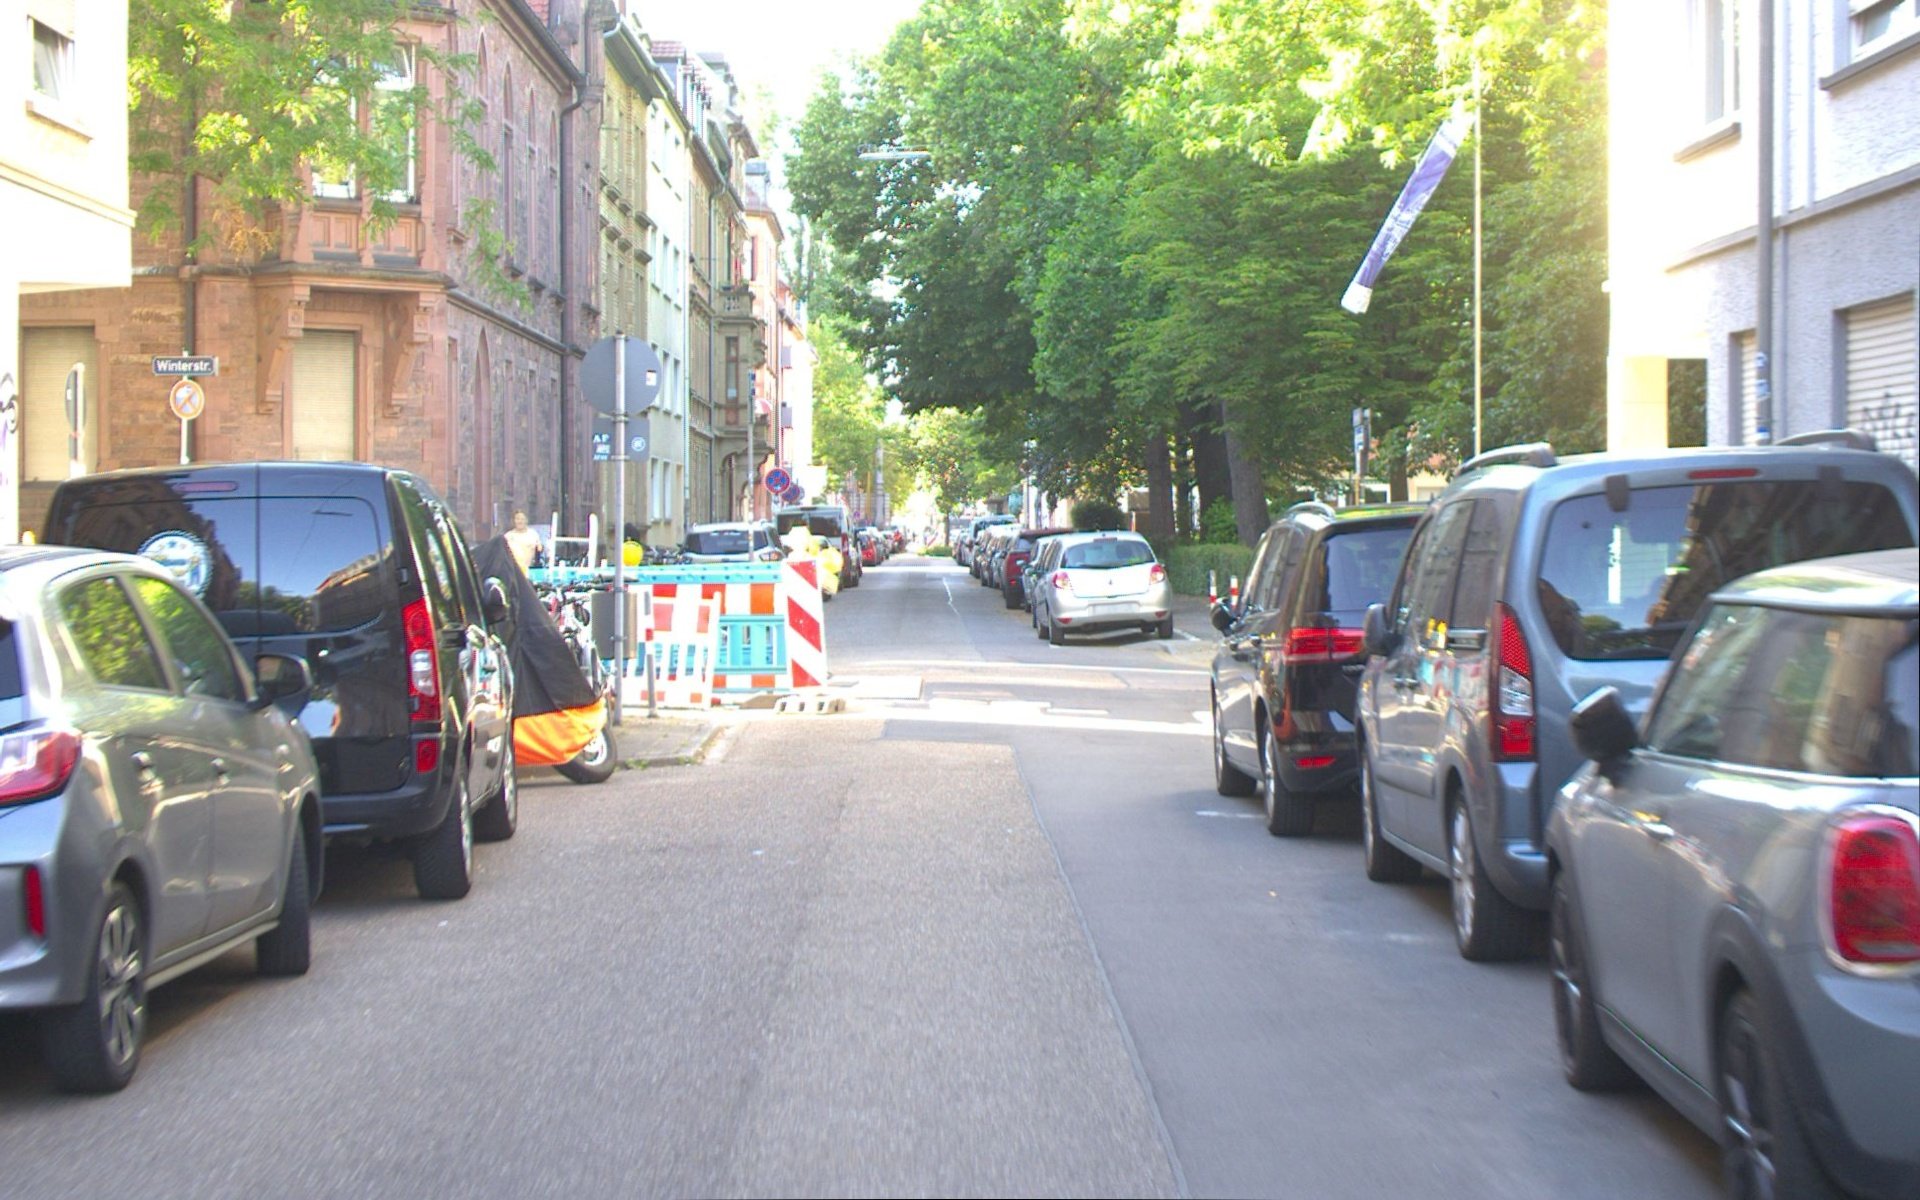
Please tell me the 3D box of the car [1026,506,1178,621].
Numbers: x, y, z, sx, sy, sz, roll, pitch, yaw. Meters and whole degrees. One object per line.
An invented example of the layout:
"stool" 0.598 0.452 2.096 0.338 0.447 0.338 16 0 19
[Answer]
"car" 1.939 -0.544 47.844 1.723 1.517 4.001 -1 2 -3

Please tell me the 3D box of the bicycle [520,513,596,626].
"bicycle" -5.223 -0.416 44.791 0.683 1.418 2.798 0 1 -1

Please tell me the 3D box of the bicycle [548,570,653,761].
"bicycle" -2.296 0.396 22.073 0.425 1.136 1.666 3 1 1

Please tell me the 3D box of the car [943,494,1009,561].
"car" 0.534 -2.510 119.470 2.160 2.248 4.526 0 1 -1

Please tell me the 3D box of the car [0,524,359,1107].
"car" -2.975 0.502 10.472 1.677 1.444 3.645 1 1 -1

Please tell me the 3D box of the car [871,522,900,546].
"car" -5.171 -4.623 239.457 1.993 1.641 4.000 0 1 -1

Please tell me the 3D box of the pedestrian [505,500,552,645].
"pedestrian" -5.191 -0.333 41.370 0.524 1.734 0.558 0 1 -5

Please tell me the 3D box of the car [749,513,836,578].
"car" -3.612 -1.201 74.599 1.771 1.348 4.000 0 1 -1

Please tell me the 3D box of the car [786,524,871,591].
"car" -3.172 -1.050 83.370 1.993 1.568 4.000 0 1 -1

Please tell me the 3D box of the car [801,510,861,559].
"car" -4.202 -2.127 112.546 1.902 1.568 4.000 0 1 -1

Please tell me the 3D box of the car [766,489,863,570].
"car" -3.865 -1.875 91.903 2.309 2.107 5.170 0 1 1

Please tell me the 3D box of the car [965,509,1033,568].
"car" 1.113 -1.803 99.911 1.829 1.698 4.001 0 2 -1

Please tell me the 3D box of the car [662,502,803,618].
"car" -3.528 -0.639 53.870 1.882 1.701 4.000 -2 1 0

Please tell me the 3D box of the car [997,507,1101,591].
"car" 1.753 -1.029 69.037 1.894 1.619 4.000 0 1 -1

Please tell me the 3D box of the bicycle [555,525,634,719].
"bicycle" -2.473 0.130 23.345 0.399 1.223 1.505 -1 3 -1

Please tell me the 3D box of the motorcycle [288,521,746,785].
"motorcycle" -2.595 0.275 20.225 2.511 1.477 0.904 -1 2 -27

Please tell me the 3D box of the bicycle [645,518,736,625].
"bicycle" -3.480 -0.385 44.256 0.682 1.340 2.503 -1 1 -16

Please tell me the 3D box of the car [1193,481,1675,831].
"car" 2.375 0.224 18.332 1.900 1.634 4.391 0 1 -1

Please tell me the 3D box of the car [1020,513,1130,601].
"car" 2.120 -0.825 64.209 1.841 1.590 4.001 0 1 -1

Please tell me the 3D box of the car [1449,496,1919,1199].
"car" 2.365 0.526 8.227 1.754 1.448 4.288 -4 2 1

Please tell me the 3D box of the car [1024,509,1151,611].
"car" 1.944 -0.636 53.376 1.723 1.517 4.000 0 1 -1

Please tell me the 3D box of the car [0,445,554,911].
"car" -2.850 0.241 15.230 1.818 1.760 4.336 0 1 -3

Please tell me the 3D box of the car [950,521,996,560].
"car" 0.576 -2.713 157.084 1.993 1.722 4.001 -1 2 -1

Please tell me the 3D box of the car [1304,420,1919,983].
"car" 2.546 0.252 13.664 1.753 1.780 4.724 -3 2 -1

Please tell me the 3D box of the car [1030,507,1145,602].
"car" 2.156 -0.798 59.017 1.741 1.568 4.000 0 1 -1
